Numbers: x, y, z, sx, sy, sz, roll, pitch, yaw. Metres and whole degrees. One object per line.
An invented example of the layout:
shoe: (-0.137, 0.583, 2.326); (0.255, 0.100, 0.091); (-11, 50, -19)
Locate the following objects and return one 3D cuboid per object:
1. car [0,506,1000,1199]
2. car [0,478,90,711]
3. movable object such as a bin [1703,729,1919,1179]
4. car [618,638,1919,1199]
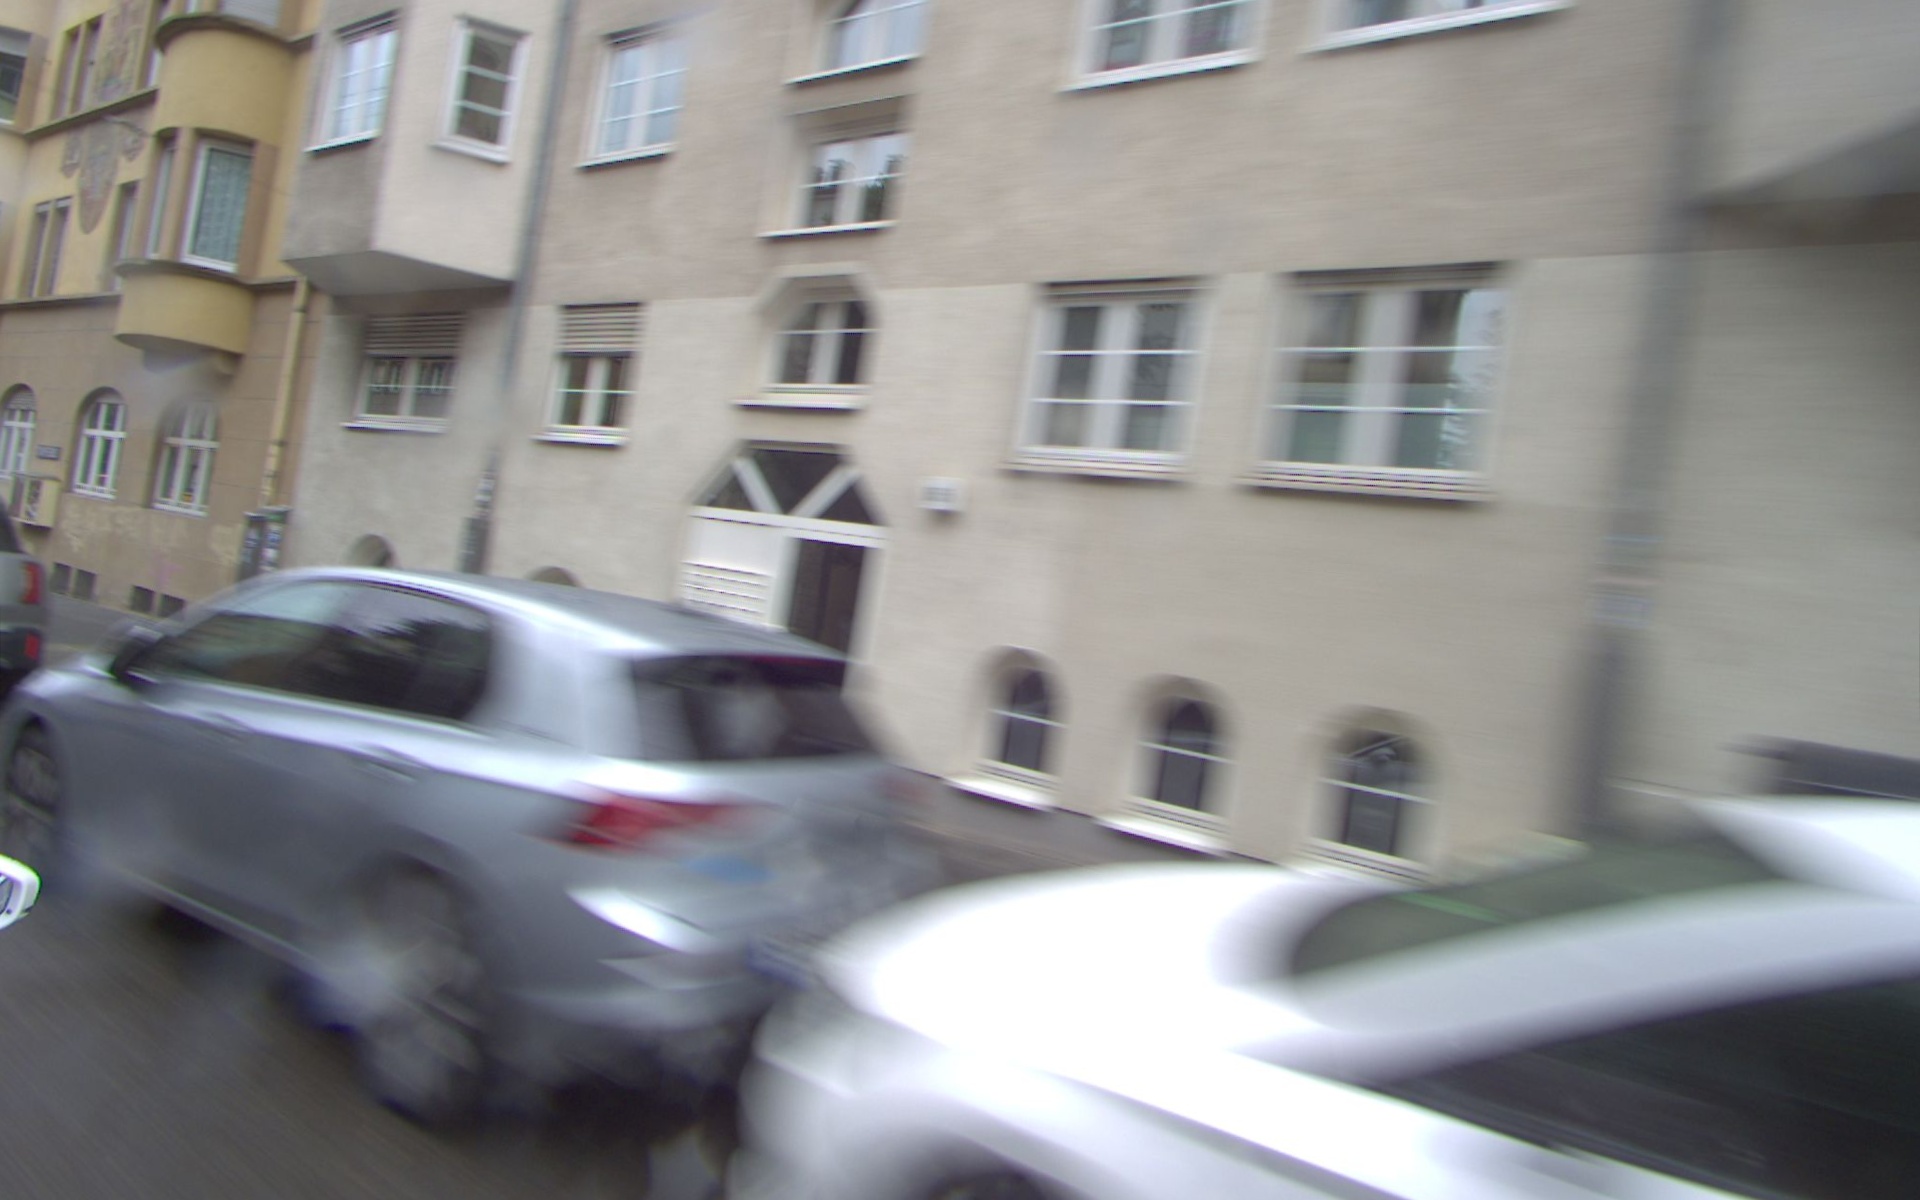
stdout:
car: (-2.227, 0.583, 4.118); (4.301, 1.484, 1.836); (6, -2, 30)
car: (-8.950, -0.277, 7.974); (4.685, 1.626, 1.843); (6, -2, 34)
movable object such as a bin: (3.810, 1.343, 3.876); (1.301, 1.485, 1.020); (6, -2, 31)
car: (1.637, 1.049, 1.679); (4.322, 1.401, 1.793); (6, -2, 32)
